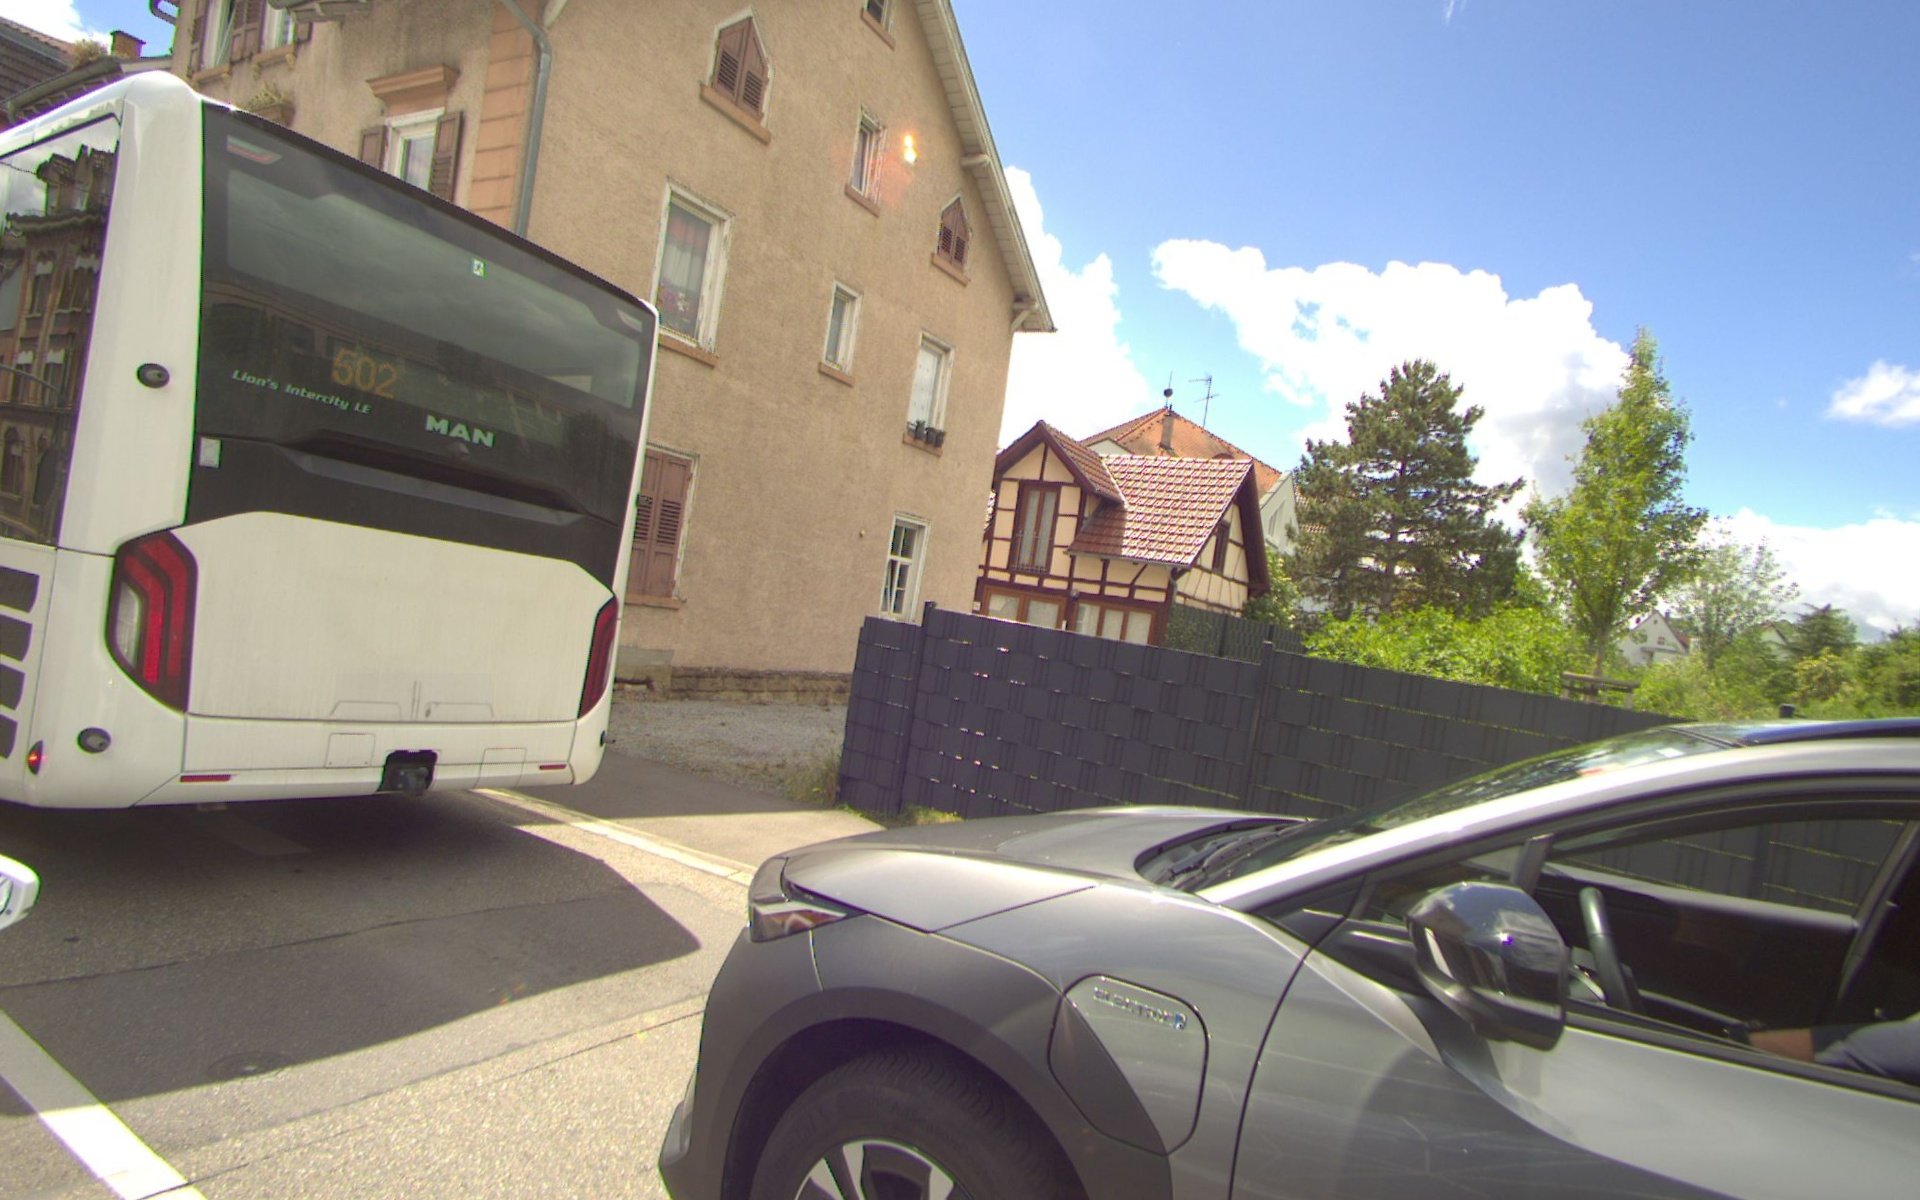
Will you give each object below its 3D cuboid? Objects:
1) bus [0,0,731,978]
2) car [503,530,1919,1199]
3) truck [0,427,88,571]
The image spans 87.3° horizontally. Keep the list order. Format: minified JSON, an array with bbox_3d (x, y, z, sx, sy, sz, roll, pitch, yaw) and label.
[{"bbox_3d":[-7.466,-0.925,7.789,12.281,3.551,2.910,6,-2,32],"label":"bus"},{"bbox_3d":[1.500,0.977,1.871,4.504,1.648,1.997,7,-1,31],"label":"car"},{"bbox_3d":[-23.305,-2.629,21.509,2.514,2.946,6.548,6,-3,41],"label":"truck"}]
